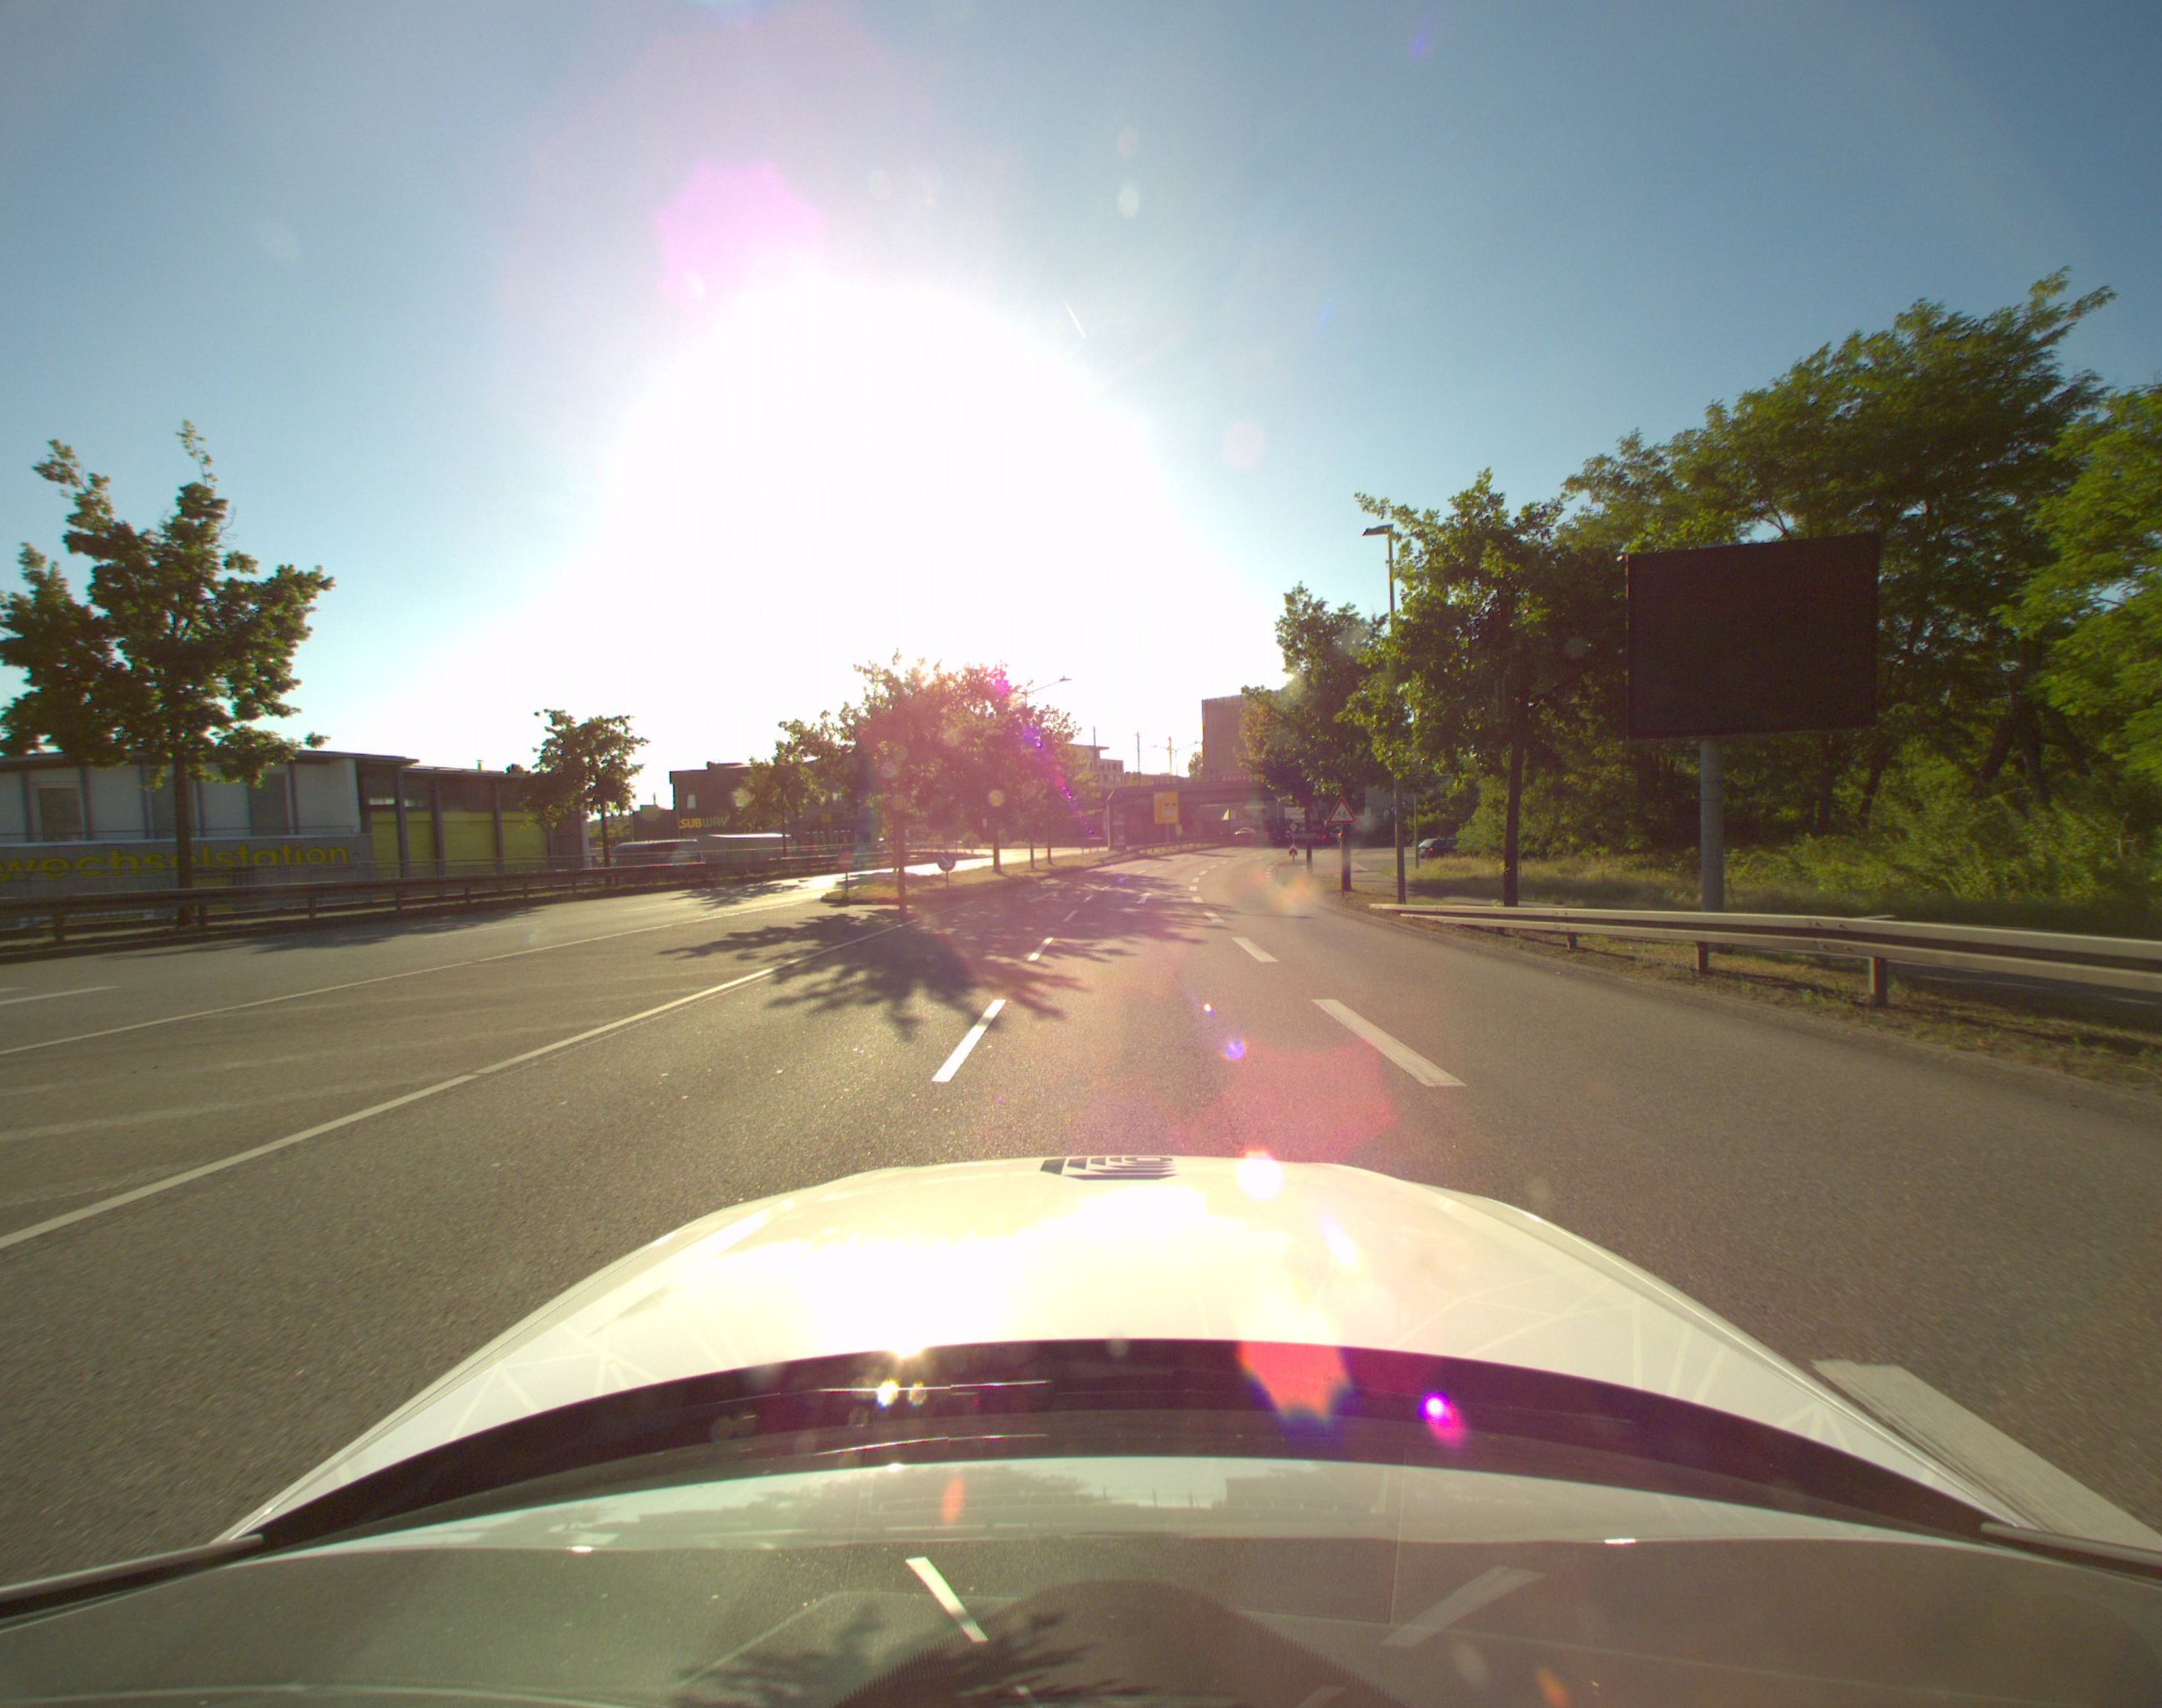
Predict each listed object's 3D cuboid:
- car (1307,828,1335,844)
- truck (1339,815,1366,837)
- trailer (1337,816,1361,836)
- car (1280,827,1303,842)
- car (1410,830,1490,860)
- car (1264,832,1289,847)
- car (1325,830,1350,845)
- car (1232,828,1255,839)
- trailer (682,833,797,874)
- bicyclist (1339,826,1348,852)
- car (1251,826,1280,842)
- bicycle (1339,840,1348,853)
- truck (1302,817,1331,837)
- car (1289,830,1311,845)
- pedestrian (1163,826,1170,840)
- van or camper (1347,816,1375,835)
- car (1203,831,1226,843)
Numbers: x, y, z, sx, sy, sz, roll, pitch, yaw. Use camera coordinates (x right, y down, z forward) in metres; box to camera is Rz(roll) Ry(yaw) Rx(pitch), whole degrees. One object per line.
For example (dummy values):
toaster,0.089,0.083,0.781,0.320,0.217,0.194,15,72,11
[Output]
car,24.712,-1.828,83.652,1.724,1.454,4.635,0,4,29
truck,32.311,-3.296,96.833,2.091,2.519,4.429,-1,1,31
trailer,34.903,-3.693,105.991,1.846,2.464,3.857,-2,1,34
car,25.831,-2.378,99.671,1.824,1.719,4.024,-4,0,27
car,22.239,-0.555,49.124,3.991,1.508,1.991,-4,0,-13
car,19.831,-1.497,82.399,1.567,1.408,3.856,0,2,28
car,28.256,-1.813,89.721,1.755,1.495,3.857,-2,1,31
car,24.180,-3.065,121.216,1.656,1.462,4.132,0,1,37
trailer,-17.979,-0.093,43.393,2.405,1.969,6.624,-1,1,9
bicyclist,19.879,-1.137,61.686,0.677,1.906,0.837,-1,2,16
car,20.102,-2.194,88.547,1.812,1.738,4.490,-1,2,30
bicycle,19.920,-0.577,61.801,0.574,0.963,2.898,-1,1,15
truck,30.663,-3.499,105.879,2.008,2.556,5.573,0,2,32
car,23.889,-1.858,88.792,1.532,1.423,3.439,-4,1,28
pedestrian,12.211,-2.982,115.813,0.687,1.903,0.669,0,2,34
van or camper,38.121,-3.901,110.875,1.974,2.570,5.956,0,2,36
car,17.039,-2.130,104.064,1.724,1.462,3.789,-1,1,28
